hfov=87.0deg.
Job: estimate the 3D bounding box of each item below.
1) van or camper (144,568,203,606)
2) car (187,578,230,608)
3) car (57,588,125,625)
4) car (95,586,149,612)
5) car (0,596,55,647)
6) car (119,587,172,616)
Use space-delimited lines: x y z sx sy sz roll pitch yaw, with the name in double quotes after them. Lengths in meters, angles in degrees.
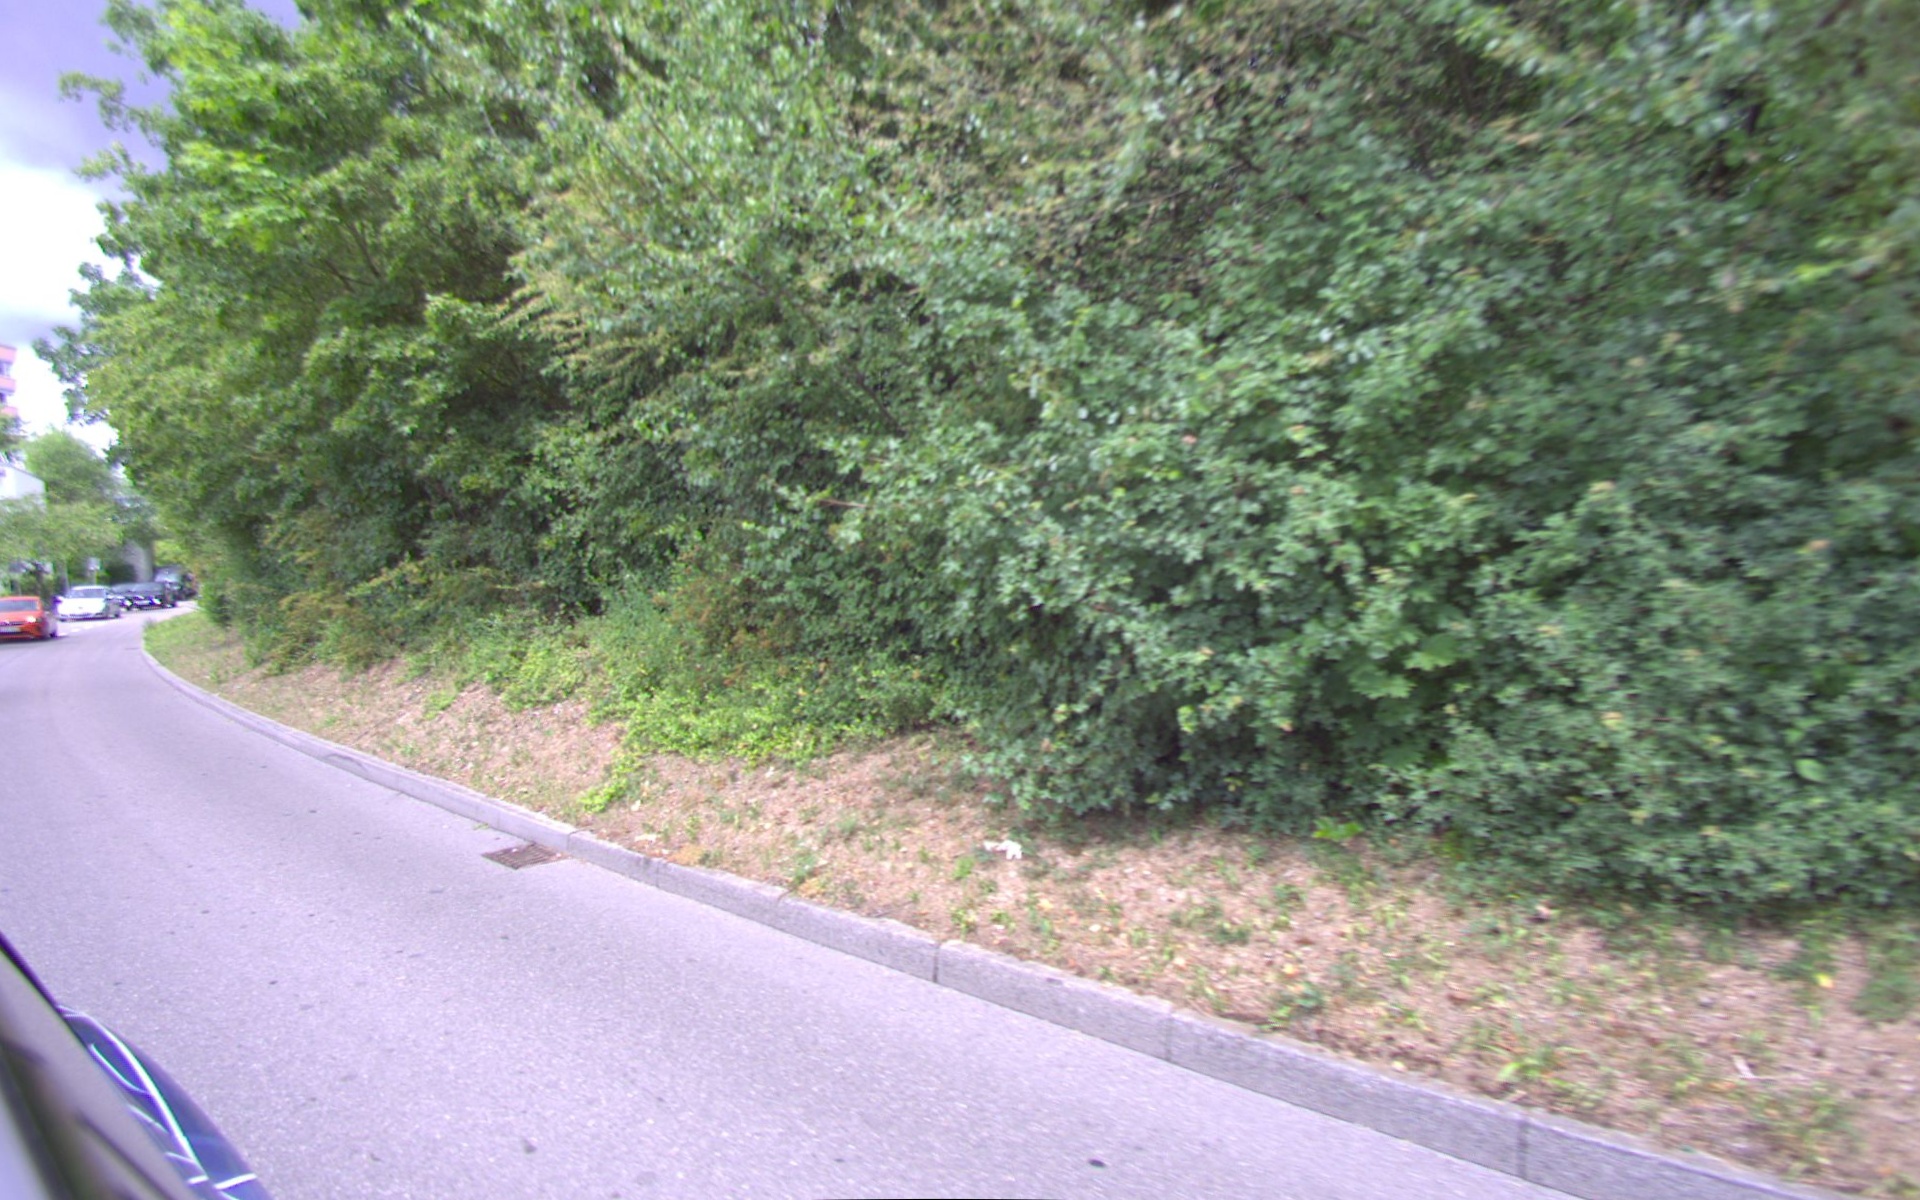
-58.516 -1.017 75.411 1.966 2.513 5.778 -4 4 -24 "van or camper"
-47.065 -0.428 63.445 1.729 1.673 4.132 -7 4 -32 "car"
-40.954 0.282 47.802 1.752 1.462 4.012 -4 4 -32 "car"
-52.702 -0.071 63.723 1.667 1.430 4.014 -3 3 -26 "car"
-30.765 0.669 32.738 4.001 1.453 1.837 1 5 44 "car"
-47.226 0.050 58.758 1.752 1.430 4.012 -4 4 -31 "car"
